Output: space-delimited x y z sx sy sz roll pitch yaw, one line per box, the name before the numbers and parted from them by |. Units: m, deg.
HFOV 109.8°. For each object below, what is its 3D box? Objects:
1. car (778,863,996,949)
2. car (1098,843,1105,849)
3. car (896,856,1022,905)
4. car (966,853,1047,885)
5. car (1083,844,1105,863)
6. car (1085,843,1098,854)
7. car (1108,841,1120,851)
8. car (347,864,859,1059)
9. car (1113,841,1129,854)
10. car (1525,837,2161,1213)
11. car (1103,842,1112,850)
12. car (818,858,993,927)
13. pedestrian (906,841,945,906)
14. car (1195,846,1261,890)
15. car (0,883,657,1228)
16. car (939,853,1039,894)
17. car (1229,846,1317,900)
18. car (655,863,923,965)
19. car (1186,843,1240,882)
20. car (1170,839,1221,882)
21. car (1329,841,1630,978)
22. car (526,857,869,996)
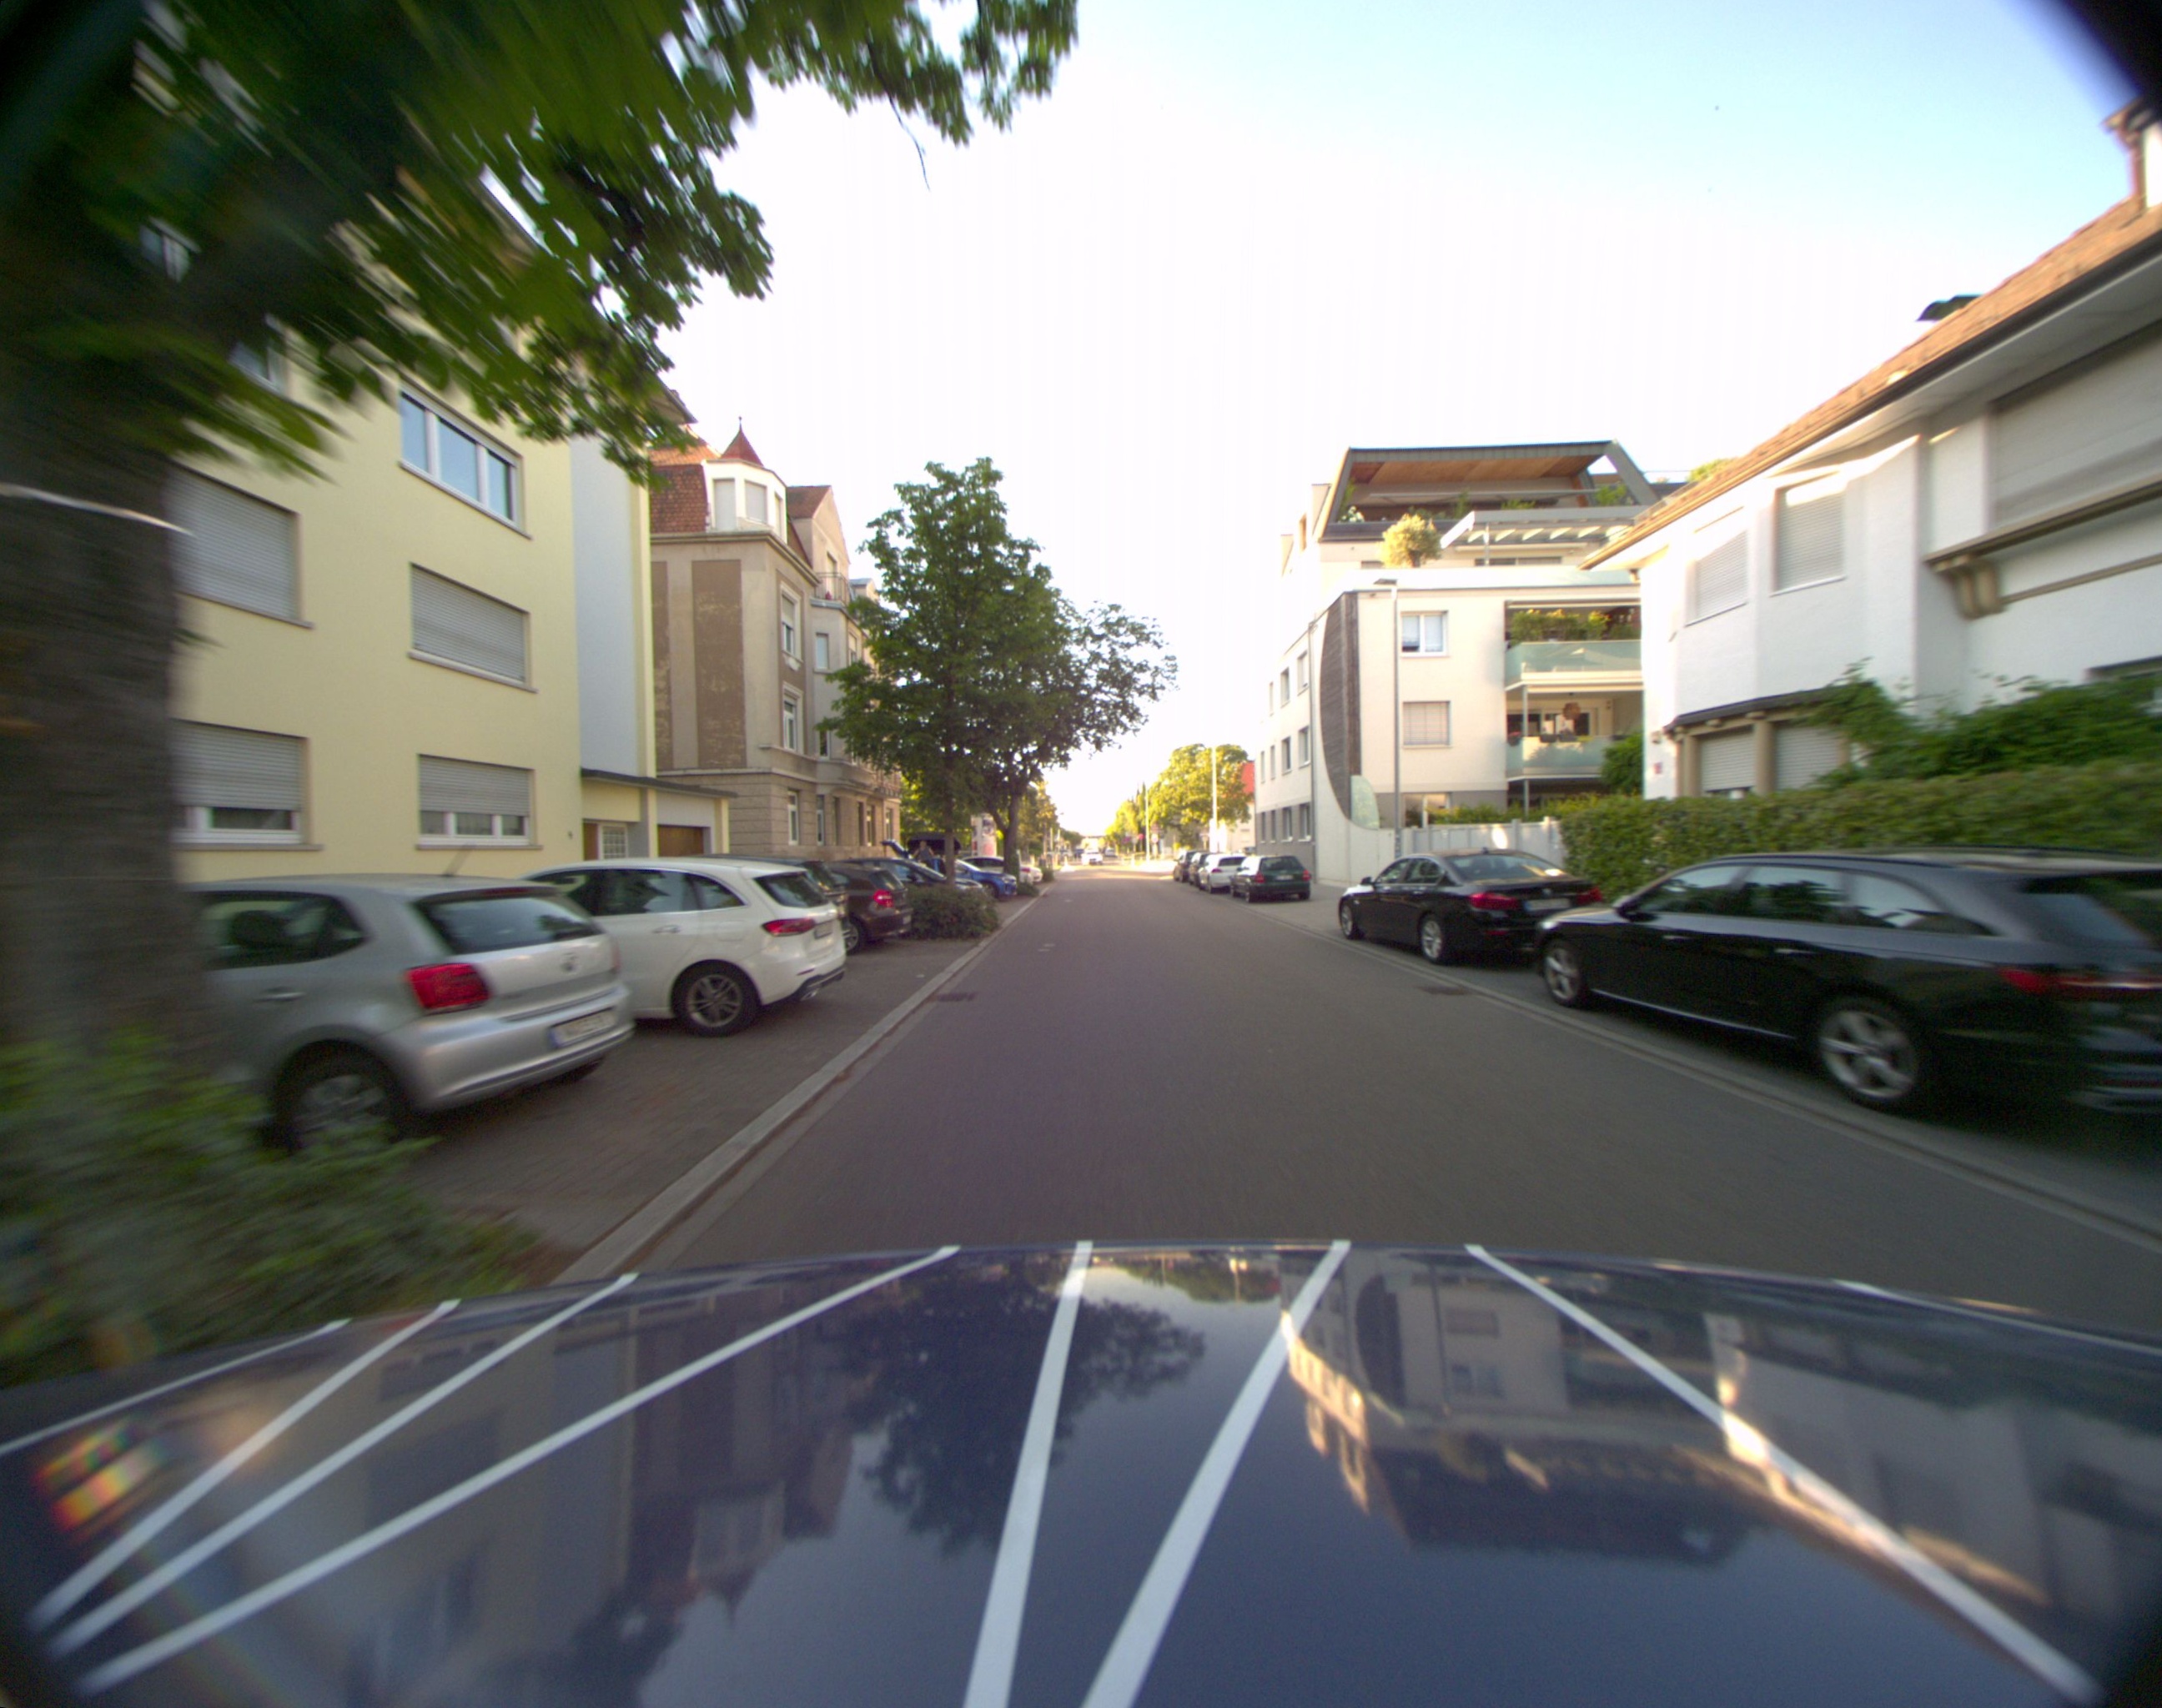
car | -3.593 0.948 14.508 3.680 1.434 1.601 -1 1 1
car | 6.146 -2.431 225.299 1.913 1.679 4.198 -4 1 1
car | -3.944 0.848 25.024 3.825 1.477 1.601 -1 1 1
car | -3.692 0.736 37.892 3.825 1.477 1.601 -1 1 1
car | 1.206 -0.051 72.990 1.998 1.690 4.423 -2 1 0
car | 1.676 -0.886 120.689 1.913 1.679 4.198 -4 1 1
car | 5.811 -1.390 133.554 1.913 1.679 4.198 -4 1 1
car | -4.188 0.904 7.104 3.680 1.489 1.676 -1 1 1
car | 5.343 -0.907 102.252 1.913 1.679 4.198 -4 1 1
car | 5.248 0.667 5.289 1.742 1.451 4.378 -4 1 1
car | 6.267 -1.914 178.766 1.913 1.679 4.198 -4 1 1
car | -4.182 0.903 18.458 3.825 1.477 1.601 -1 1 1
pedestrian | -4.925 0.598 24.111 0.999 2.002 0.981 -2 1 -2
car | 5.350 0.467 28.050 1.723 1.386 3.907 -4 0 2
car | -4.697 0.973 4.269 3.680 1.453 1.616 -1 1 1
car | -3.655 0.772 30.429 3.828 1.477 1.600 -1 1 -6
car | 5.653 0.505 22.829 1.723 1.386 3.907 -4 0 2
car | -4.612 0.933 12.367 3.680 1.434 1.601 -1 1 1
car | 5.656 0.351 32.964 1.723 1.489 3.907 -4 0 2
car | 5.650 0.271 37.970 1.913 1.937 4.198 -4 1 1
car | 5.298 0.611 10.931 1.743 1.451 4.563 -4 1 -2
car | -4.939 0.898 10.156 3.680 1.589 1.676 -1 1 1
